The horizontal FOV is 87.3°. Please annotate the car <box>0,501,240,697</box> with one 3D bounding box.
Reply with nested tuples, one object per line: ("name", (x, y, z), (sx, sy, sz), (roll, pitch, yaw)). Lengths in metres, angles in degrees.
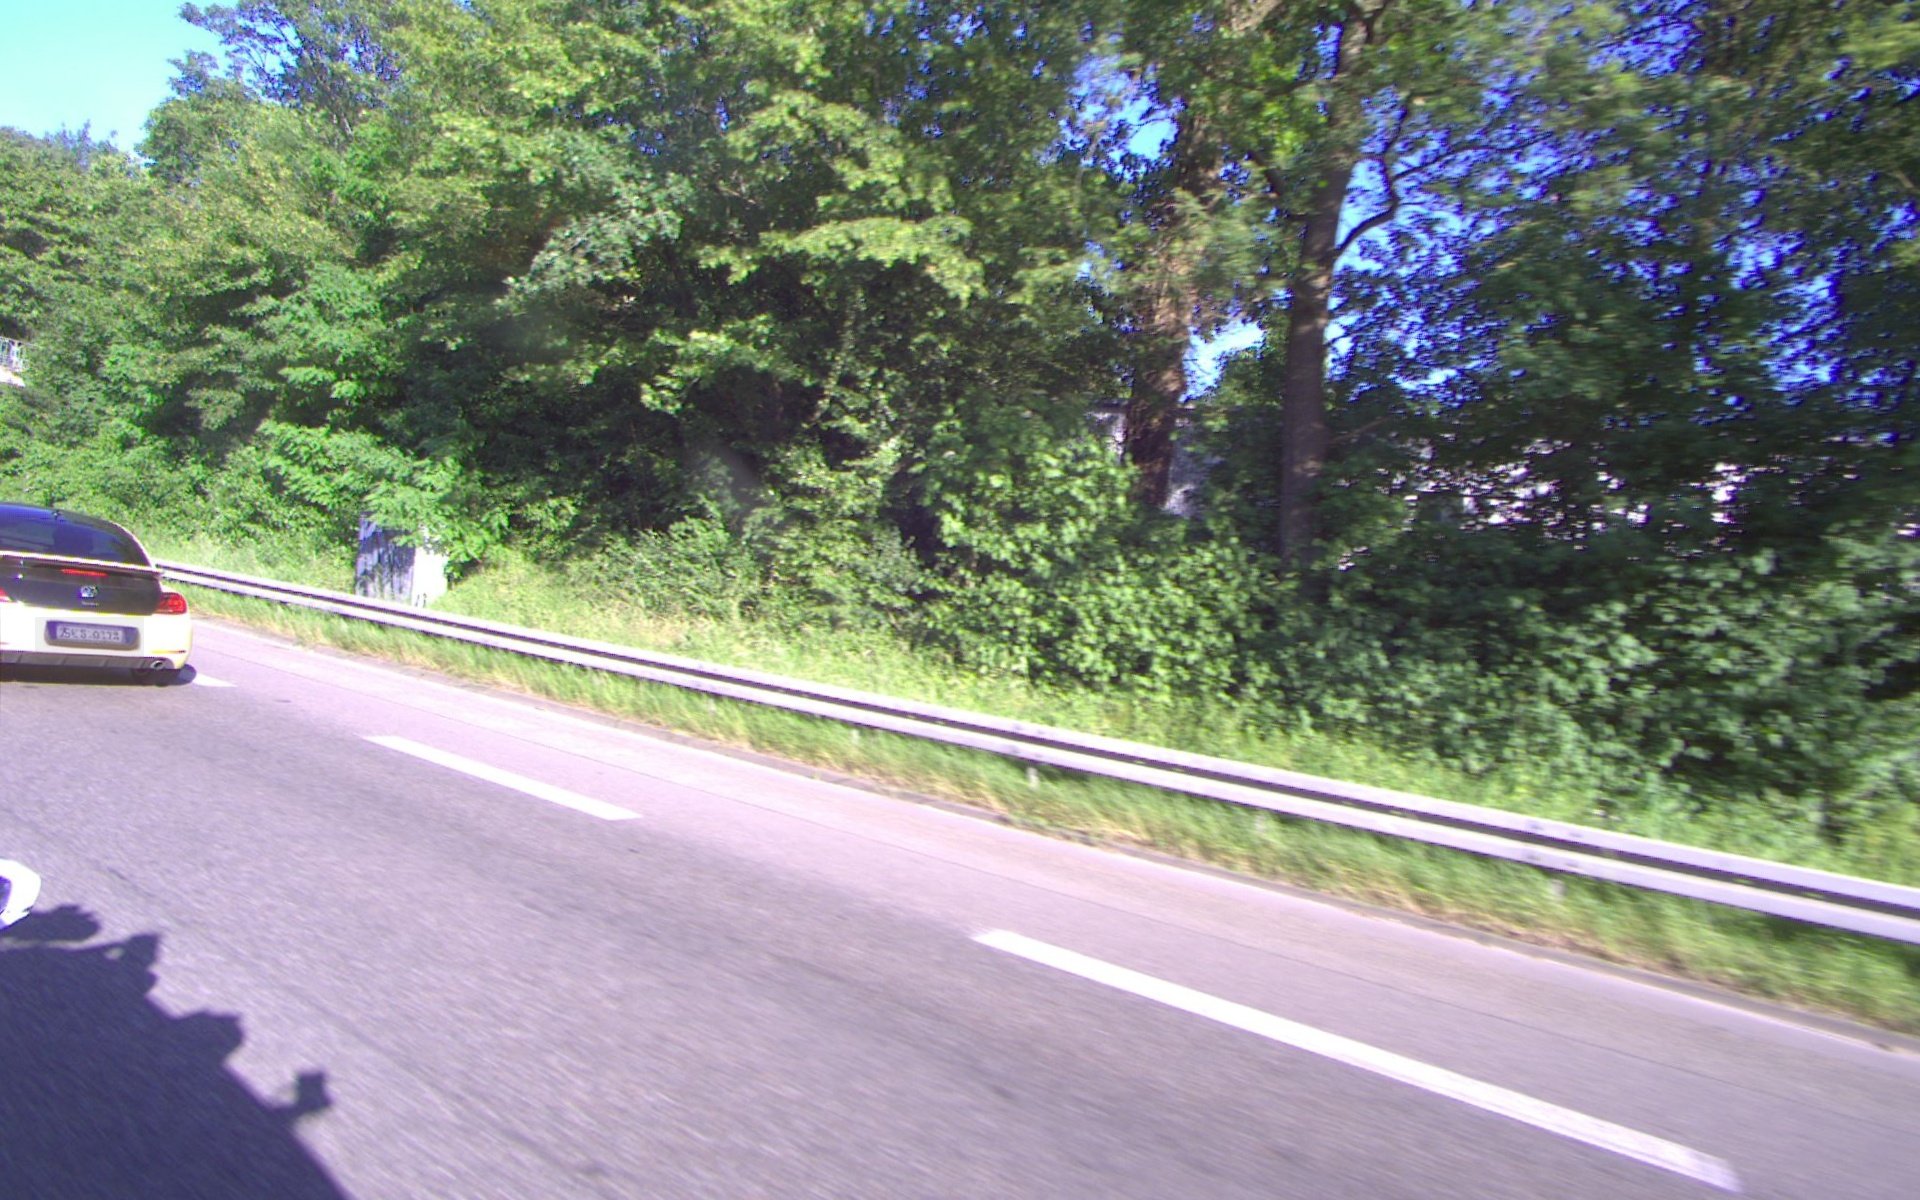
("car", (-8.861, -0.168, 9.356), (4.283, 1.478, 1.883), (7, -2, 31))
